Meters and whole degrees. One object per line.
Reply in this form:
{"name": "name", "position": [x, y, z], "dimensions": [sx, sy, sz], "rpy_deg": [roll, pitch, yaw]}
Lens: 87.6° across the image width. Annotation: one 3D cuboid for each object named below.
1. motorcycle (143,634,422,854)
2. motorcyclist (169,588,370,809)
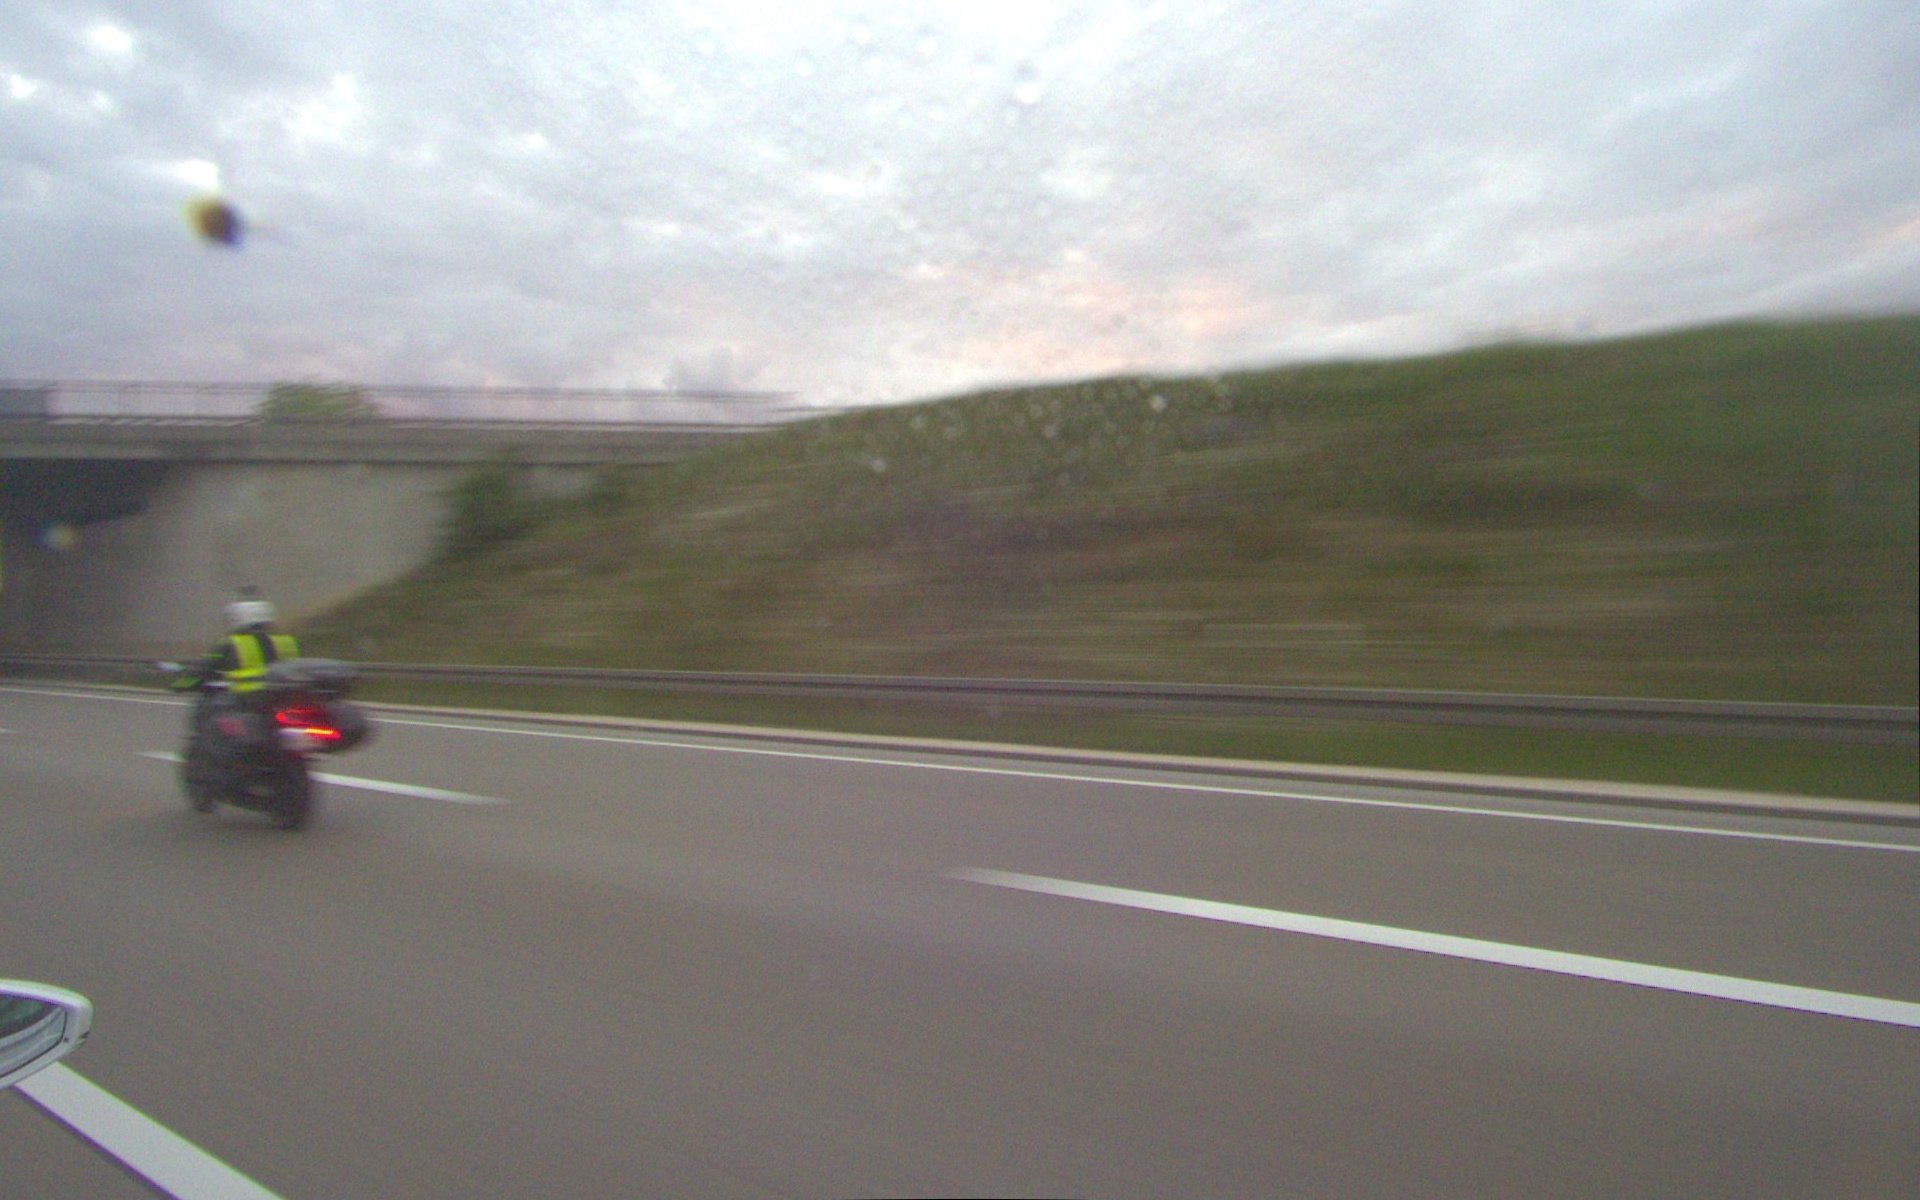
{"name": "motorcycle", "position": [-5.116, 0.974, 7.514], "dimensions": [2.315, 1.364, 0.900], "rpy_deg": [0, 0, 33]}
{"name": "motorcyclist", "position": [-5.172, 0.686, 7.507], "dimensions": [1.152, 1.507, 0.864], "rpy_deg": [0, -1, 34]}
